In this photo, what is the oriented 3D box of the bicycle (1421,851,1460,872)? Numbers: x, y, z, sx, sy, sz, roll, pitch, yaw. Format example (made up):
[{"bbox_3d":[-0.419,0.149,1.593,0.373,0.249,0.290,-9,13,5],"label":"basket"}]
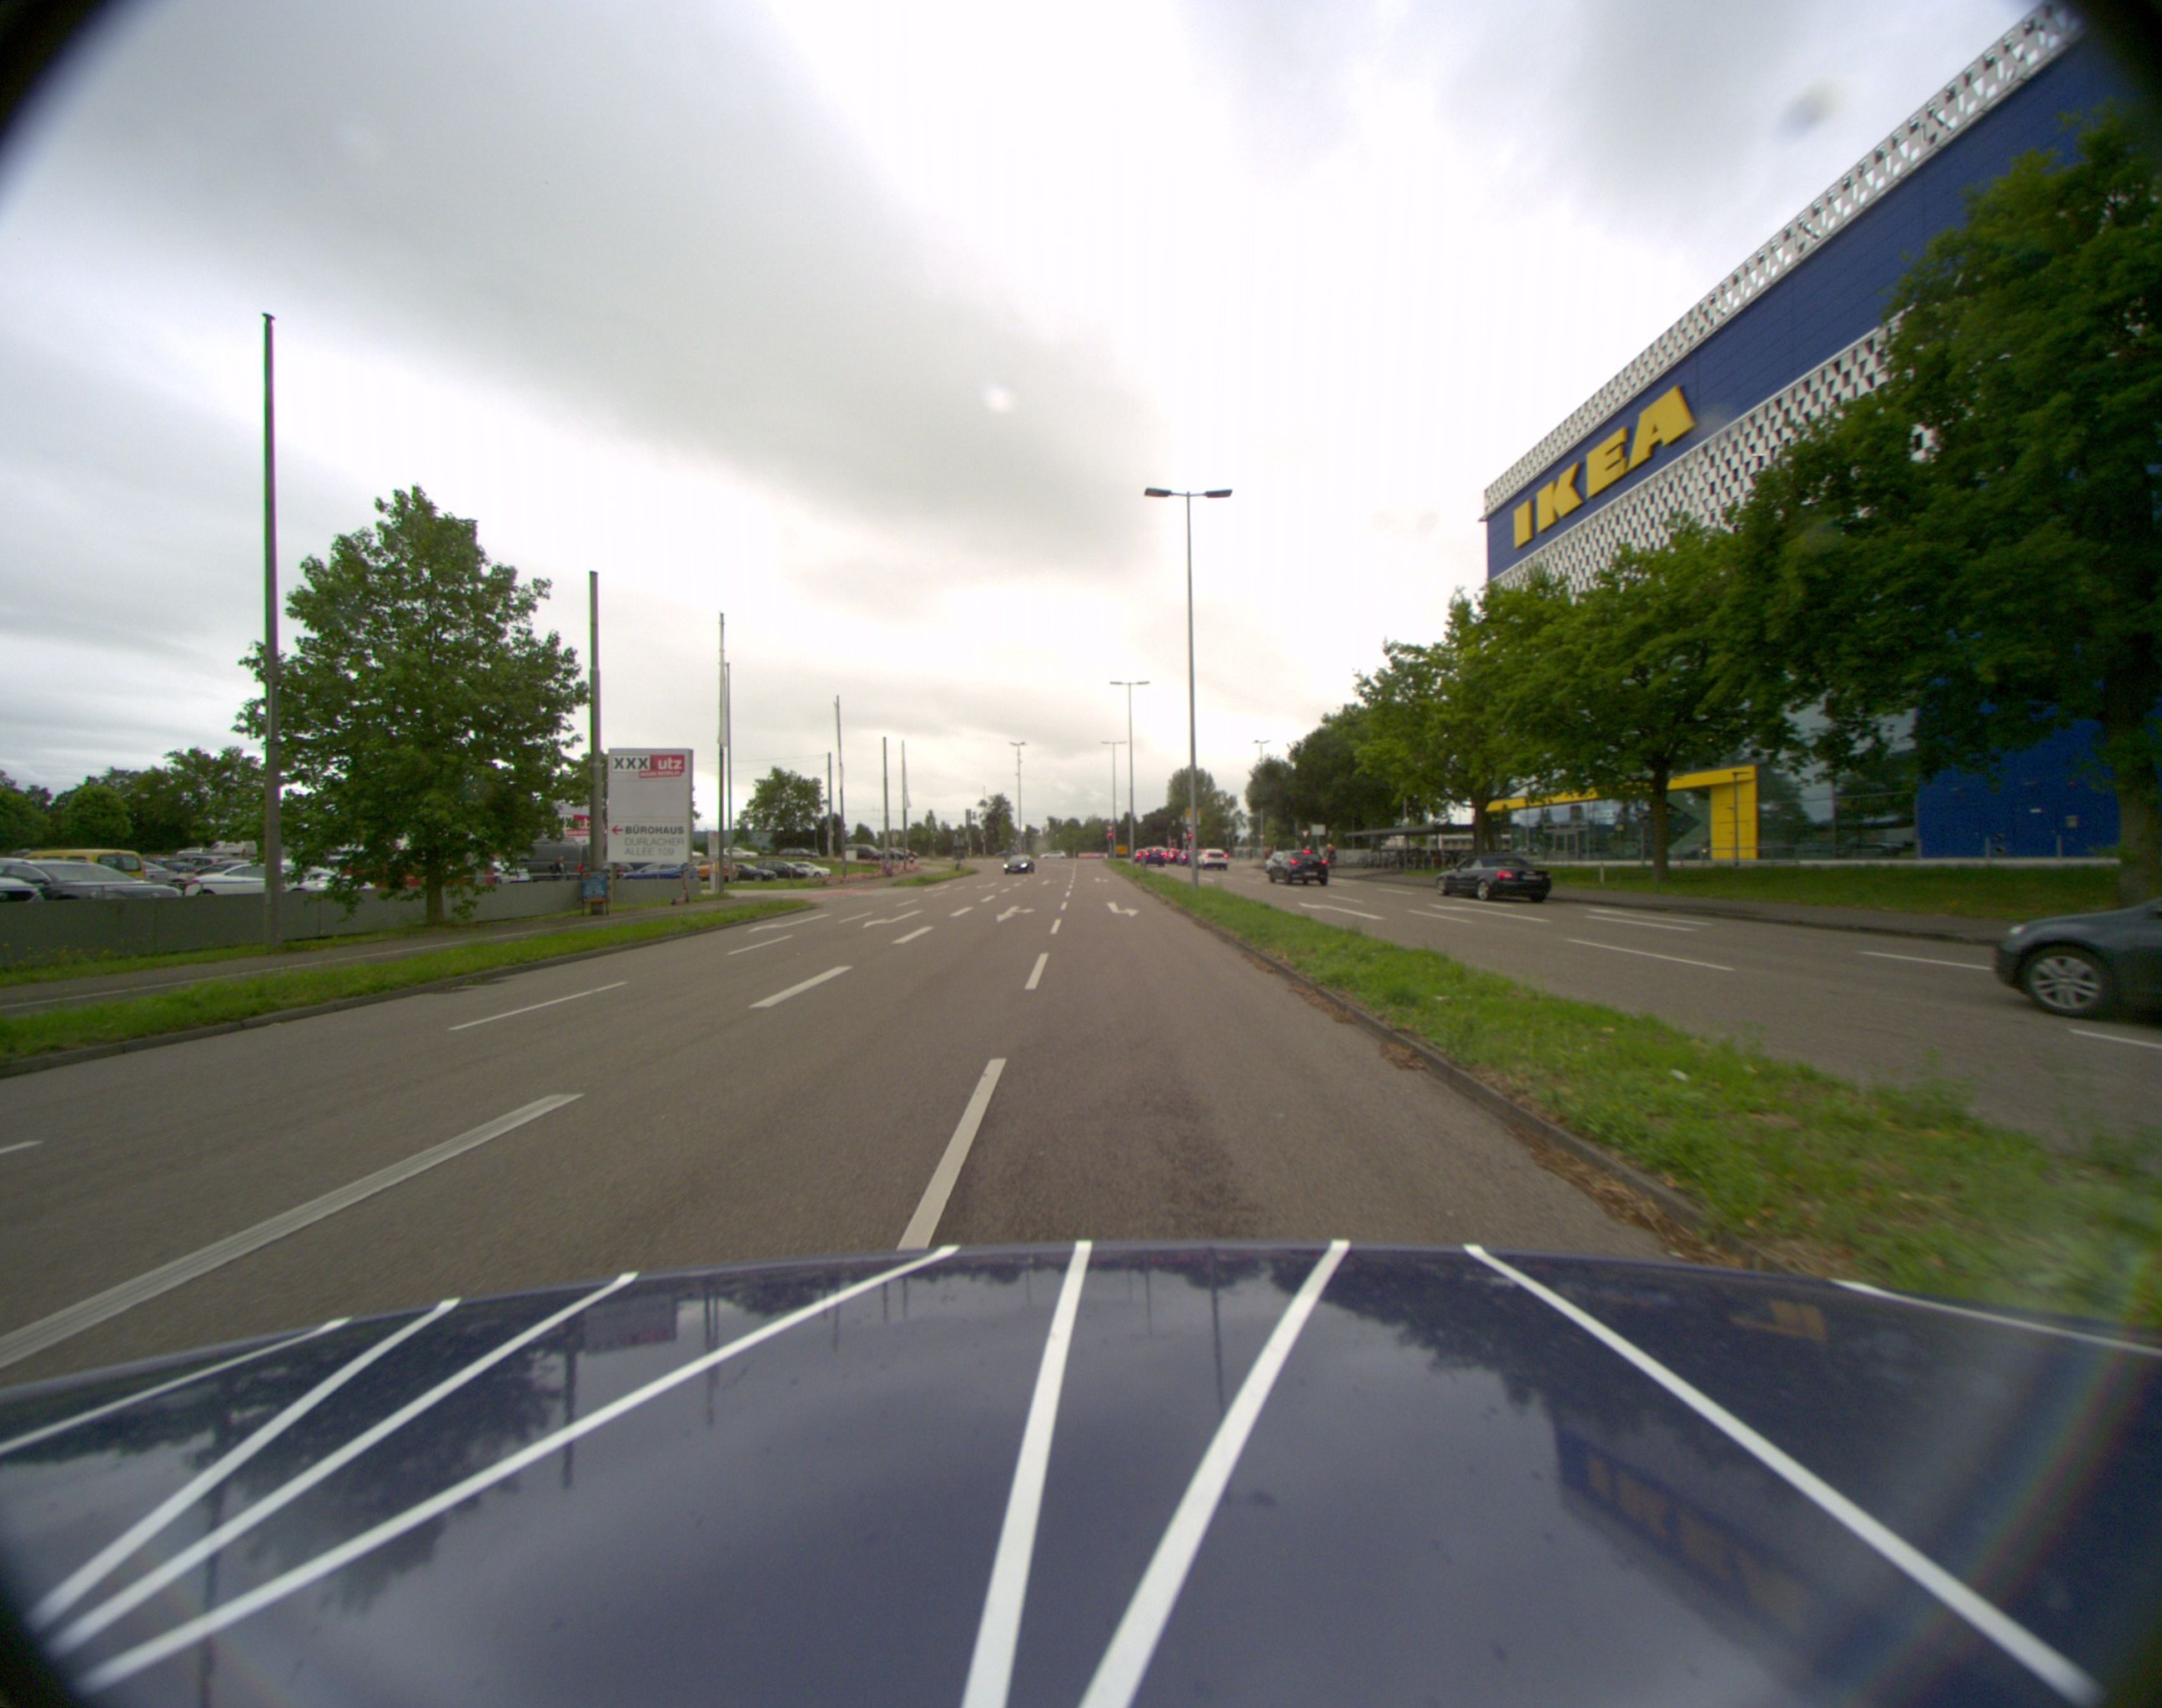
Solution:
[{"bbox_3d":[21.522,0.443,45.494,2.018,1.150,0.594,-3,1,15],"label":"bicycle"}]

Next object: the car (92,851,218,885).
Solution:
[{"bbox_3d":[-48.359,0.730,39.753,4.195,1.765,1.855,0,0,-2],"label":"car"}]

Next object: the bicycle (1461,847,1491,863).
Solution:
[{"bbox_3d":[29.235,0.080,56.250,2.023,1.150,0.593,-3,1,-12],"label":"bicycle"}]

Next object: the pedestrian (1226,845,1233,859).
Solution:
[{"bbox_3d":[18.869,-0.215,96.693,0.664,1.756,0.686,2,4,-3],"label":"pedestrian"}]

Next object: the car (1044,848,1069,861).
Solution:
[{"bbox_3d":[-3.999,0.101,123.751,3.999,2.002,1.947,-1,1,-6],"label":"car"}]

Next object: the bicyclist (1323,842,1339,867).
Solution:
[{"bbox_3d":[16.334,0.011,49.618,0.642,1.568,1.000,-2,1,0],"label":"bicyclist"}]

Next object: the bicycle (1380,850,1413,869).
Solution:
[{"bbox_3d":[21.096,0.348,50.812,1.898,1.150,0.593,-3,1,1],"label":"bicycle"}]

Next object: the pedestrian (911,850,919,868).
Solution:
[{"bbox_3d":[-15.813,0.466,72.424,0.717,1.589,0.782,-1,3,-9],"label":"pedestrian"}]

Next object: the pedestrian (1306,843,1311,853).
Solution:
[{"bbox_3d":[34.075,-0.873,113.804,0.632,1.550,0.711,-1,-1,2],"label":"pedestrian"}]

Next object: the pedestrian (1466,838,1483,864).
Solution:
[{"bbox_3d":[26.977,-0.207,52.064,0.679,1.735,0.808,-2,0,0],"label":"pedestrian"}]

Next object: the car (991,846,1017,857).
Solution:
[{"bbox_3d":[-11.788,-0.362,116.681,3.828,1.502,1.722,-1,-2,-12],"label":"car"}]

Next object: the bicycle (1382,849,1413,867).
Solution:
[{"bbox_3d":[22.976,0.288,55.185,2.018,1.150,0.594,-3,1,17],"label":"bicycle"}]

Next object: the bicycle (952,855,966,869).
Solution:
[{"bbox_3d":[-9.832,0.660,61.268,0.664,1.042,1.692,-1,1,7],"label":"bicycle"}]

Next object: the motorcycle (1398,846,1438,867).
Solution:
[{"bbox_3d":[23.334,0.156,52.622,2.500,1.347,0.799,-3,1,-12],"label":"motorcycle"}]

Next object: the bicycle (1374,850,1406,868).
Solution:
[{"bbox_3d":[21.073,0.359,51.893,1.898,1.150,0.593,-3,1,1],"label":"bicycle"}]

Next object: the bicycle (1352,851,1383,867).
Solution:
[{"bbox_3d":[20.877,0.376,55.408,2.020,1.150,0.593,-1,1,1],"label":"bicycle"}]

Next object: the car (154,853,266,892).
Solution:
[{"bbox_3d":[-48.627,1.009,42.475,3.997,2.036,1.883,-1,1,1],"label":"car"}]

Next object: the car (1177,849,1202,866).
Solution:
[{"bbox_3d":[9.942,0.267,69.880,1.606,1.436,4.142,1,1,0],"label":"car"}]

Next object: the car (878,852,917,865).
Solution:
[{"bbox_3d":[-22.463,0.549,92.848,4.200,1.455,1.839,-1,1,13],"label":"car"}]

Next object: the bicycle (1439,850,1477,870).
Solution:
[{"bbox_3d":[23.365,0.351,47.062,2.020,1.150,0.593,-3,1,1],"label":"bicycle"}]

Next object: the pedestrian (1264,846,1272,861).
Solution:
[{"bbox_3d":[20.784,-0.029,84.475,0.635,1.633,0.809,-1,3,-2],"label":"pedestrian"}]

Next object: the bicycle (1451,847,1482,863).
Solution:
[{"bbox_3d":[29.304,0.087,57.746,2.021,1.150,0.593,-2,1,-1],"label":"bicycle"}]

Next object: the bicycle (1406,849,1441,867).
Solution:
[{"bbox_3d":[23.179,0.272,51.401,2.020,1.150,0.593,-3,1,1],"label":"bicycle"}]

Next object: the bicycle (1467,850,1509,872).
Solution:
[{"bbox_3d":[23.330,0.392,43.535,2.020,1.116,0.594,-3,1,3],"label":"bicycle"}]

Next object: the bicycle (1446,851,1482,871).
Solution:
[{"bbox_3d":[23.065,0.430,45.724,1.814,1.076,0.593,-3,1,1],"label":"bicycle"}]

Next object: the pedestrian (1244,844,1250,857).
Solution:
[{"bbox_3d":[21.860,-0.416,100.145,0.675,1.702,0.766,-1,1,4],"label":"pedestrian"}]

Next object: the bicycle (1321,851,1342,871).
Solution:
[{"bbox_3d":[16.371,0.438,49.641,0.644,1.243,2.056,-2,0,0],"label":"bicycle"}]

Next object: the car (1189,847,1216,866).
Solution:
[{"bbox_3d":[10.116,0.169,63.458,1.606,1.489,4.036,1,1,0],"label":"car"}]

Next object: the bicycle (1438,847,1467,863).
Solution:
[{"bbox_3d":[29.381,0.084,60.076,2.021,1.150,0.593,-2,1,-1],"label":"bicycle"}]

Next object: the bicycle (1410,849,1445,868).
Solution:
[{"bbox_3d":[23.105,0.282,50.693,2.020,1.150,0.593,-3,1,1],"label":"bicycle"}]

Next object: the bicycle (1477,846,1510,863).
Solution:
[{"bbox_3d":[29.350,0.039,54.068,2.022,1.150,0.593,-3,1,-6],"label":"bicycle"}]

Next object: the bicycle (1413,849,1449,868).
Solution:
[{"bbox_3d":[22.793,0.298,49.472,2.020,1.150,0.593,-3,1,1],"label":"bicycle"}]

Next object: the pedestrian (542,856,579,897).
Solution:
[{"bbox_3d":[-22.047,0.968,32.217,0.942,1.709,0.886,-1,-1,-1],"label":"pedestrian"}]

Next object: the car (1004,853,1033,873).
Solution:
[{"bbox_3d":[-4.921,0.677,60.036,1.999,1.383,4.342,-1,1,-1],"label":"car"}]

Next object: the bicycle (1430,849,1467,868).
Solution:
[{"bbox_3d":[23.355,0.289,48.362,2.020,1.150,0.593,-3,1,1],"label":"bicycle"}]
